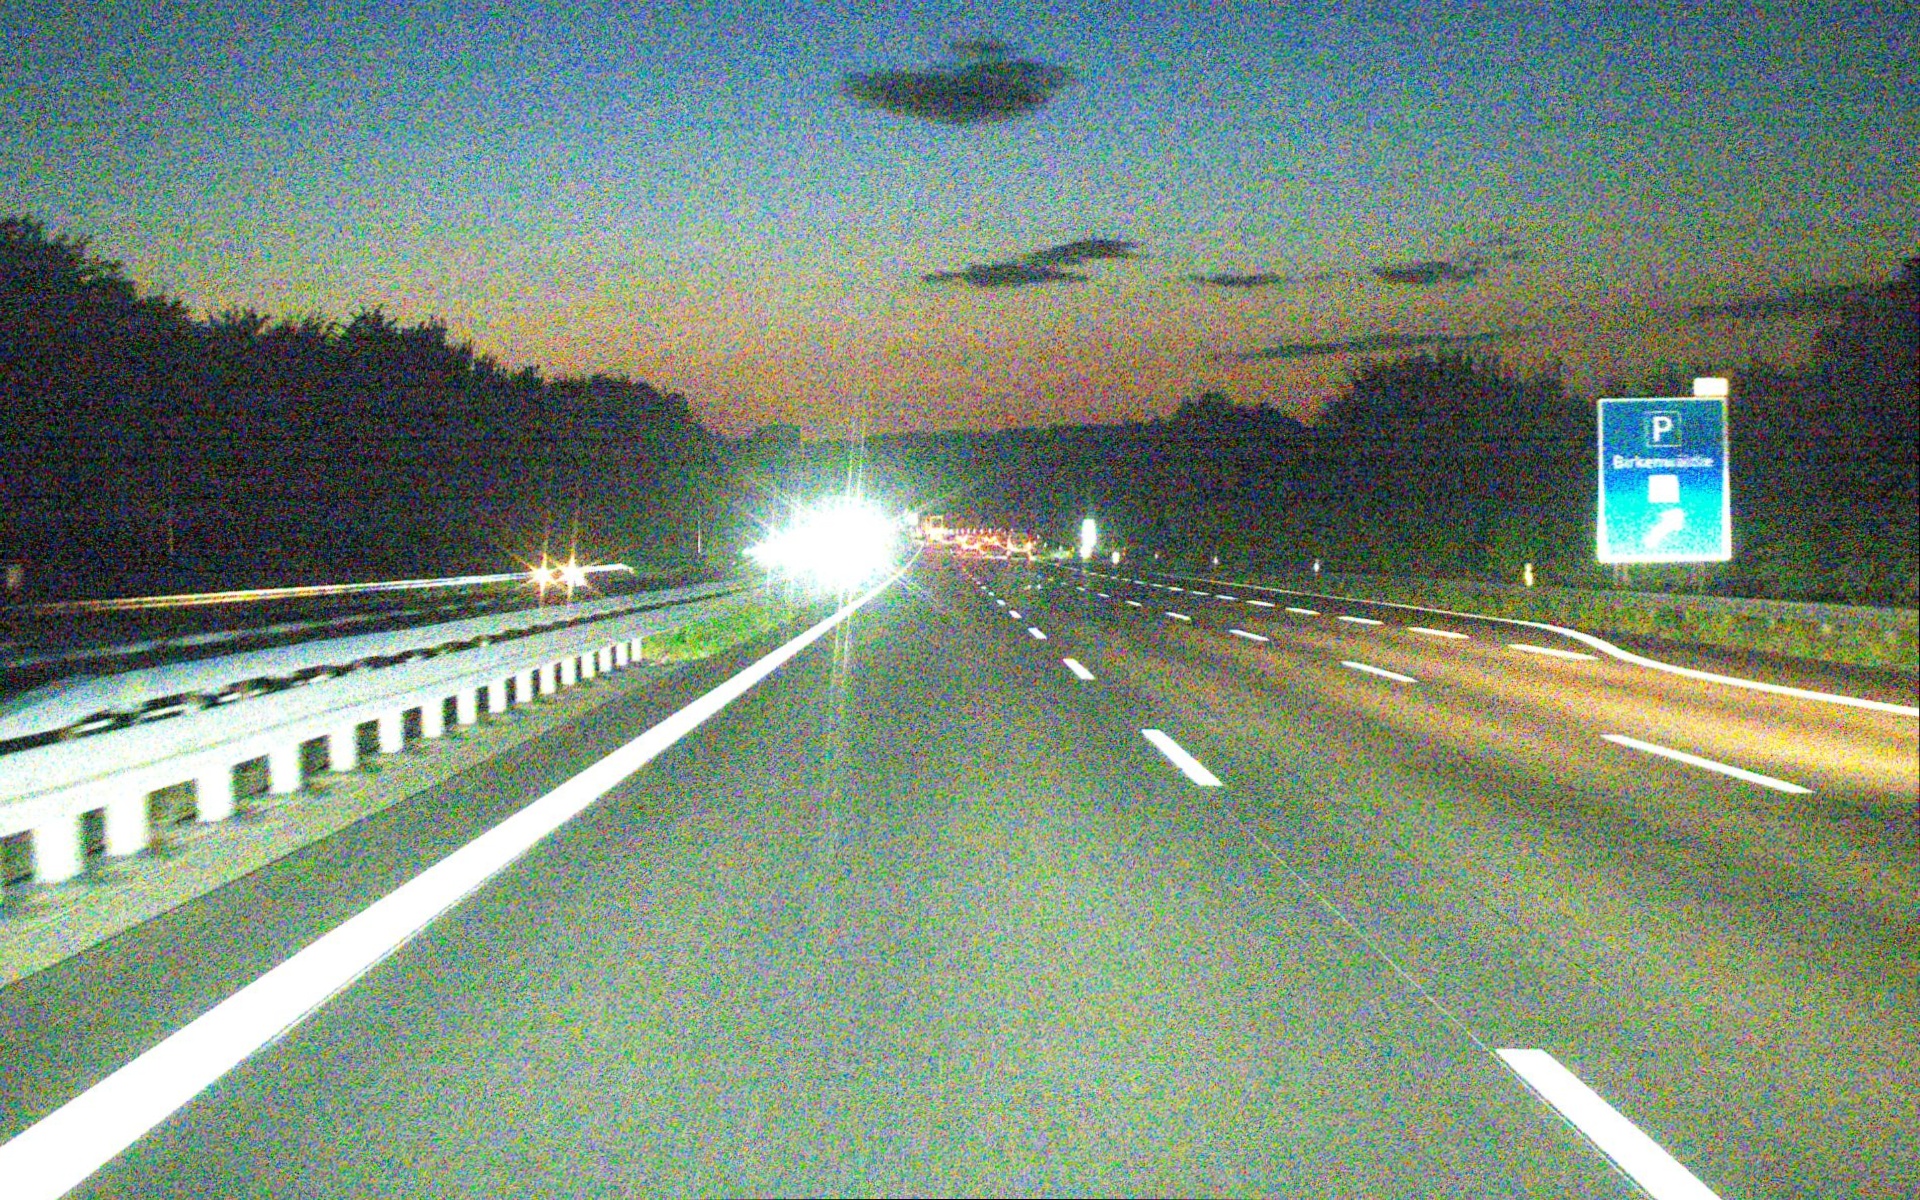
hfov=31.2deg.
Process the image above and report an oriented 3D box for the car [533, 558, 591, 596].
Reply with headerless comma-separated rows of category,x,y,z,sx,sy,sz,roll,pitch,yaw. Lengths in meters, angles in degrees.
car,-17.944,-1.056,155.000,1.993,1.546,5.005,-4,1,-1
